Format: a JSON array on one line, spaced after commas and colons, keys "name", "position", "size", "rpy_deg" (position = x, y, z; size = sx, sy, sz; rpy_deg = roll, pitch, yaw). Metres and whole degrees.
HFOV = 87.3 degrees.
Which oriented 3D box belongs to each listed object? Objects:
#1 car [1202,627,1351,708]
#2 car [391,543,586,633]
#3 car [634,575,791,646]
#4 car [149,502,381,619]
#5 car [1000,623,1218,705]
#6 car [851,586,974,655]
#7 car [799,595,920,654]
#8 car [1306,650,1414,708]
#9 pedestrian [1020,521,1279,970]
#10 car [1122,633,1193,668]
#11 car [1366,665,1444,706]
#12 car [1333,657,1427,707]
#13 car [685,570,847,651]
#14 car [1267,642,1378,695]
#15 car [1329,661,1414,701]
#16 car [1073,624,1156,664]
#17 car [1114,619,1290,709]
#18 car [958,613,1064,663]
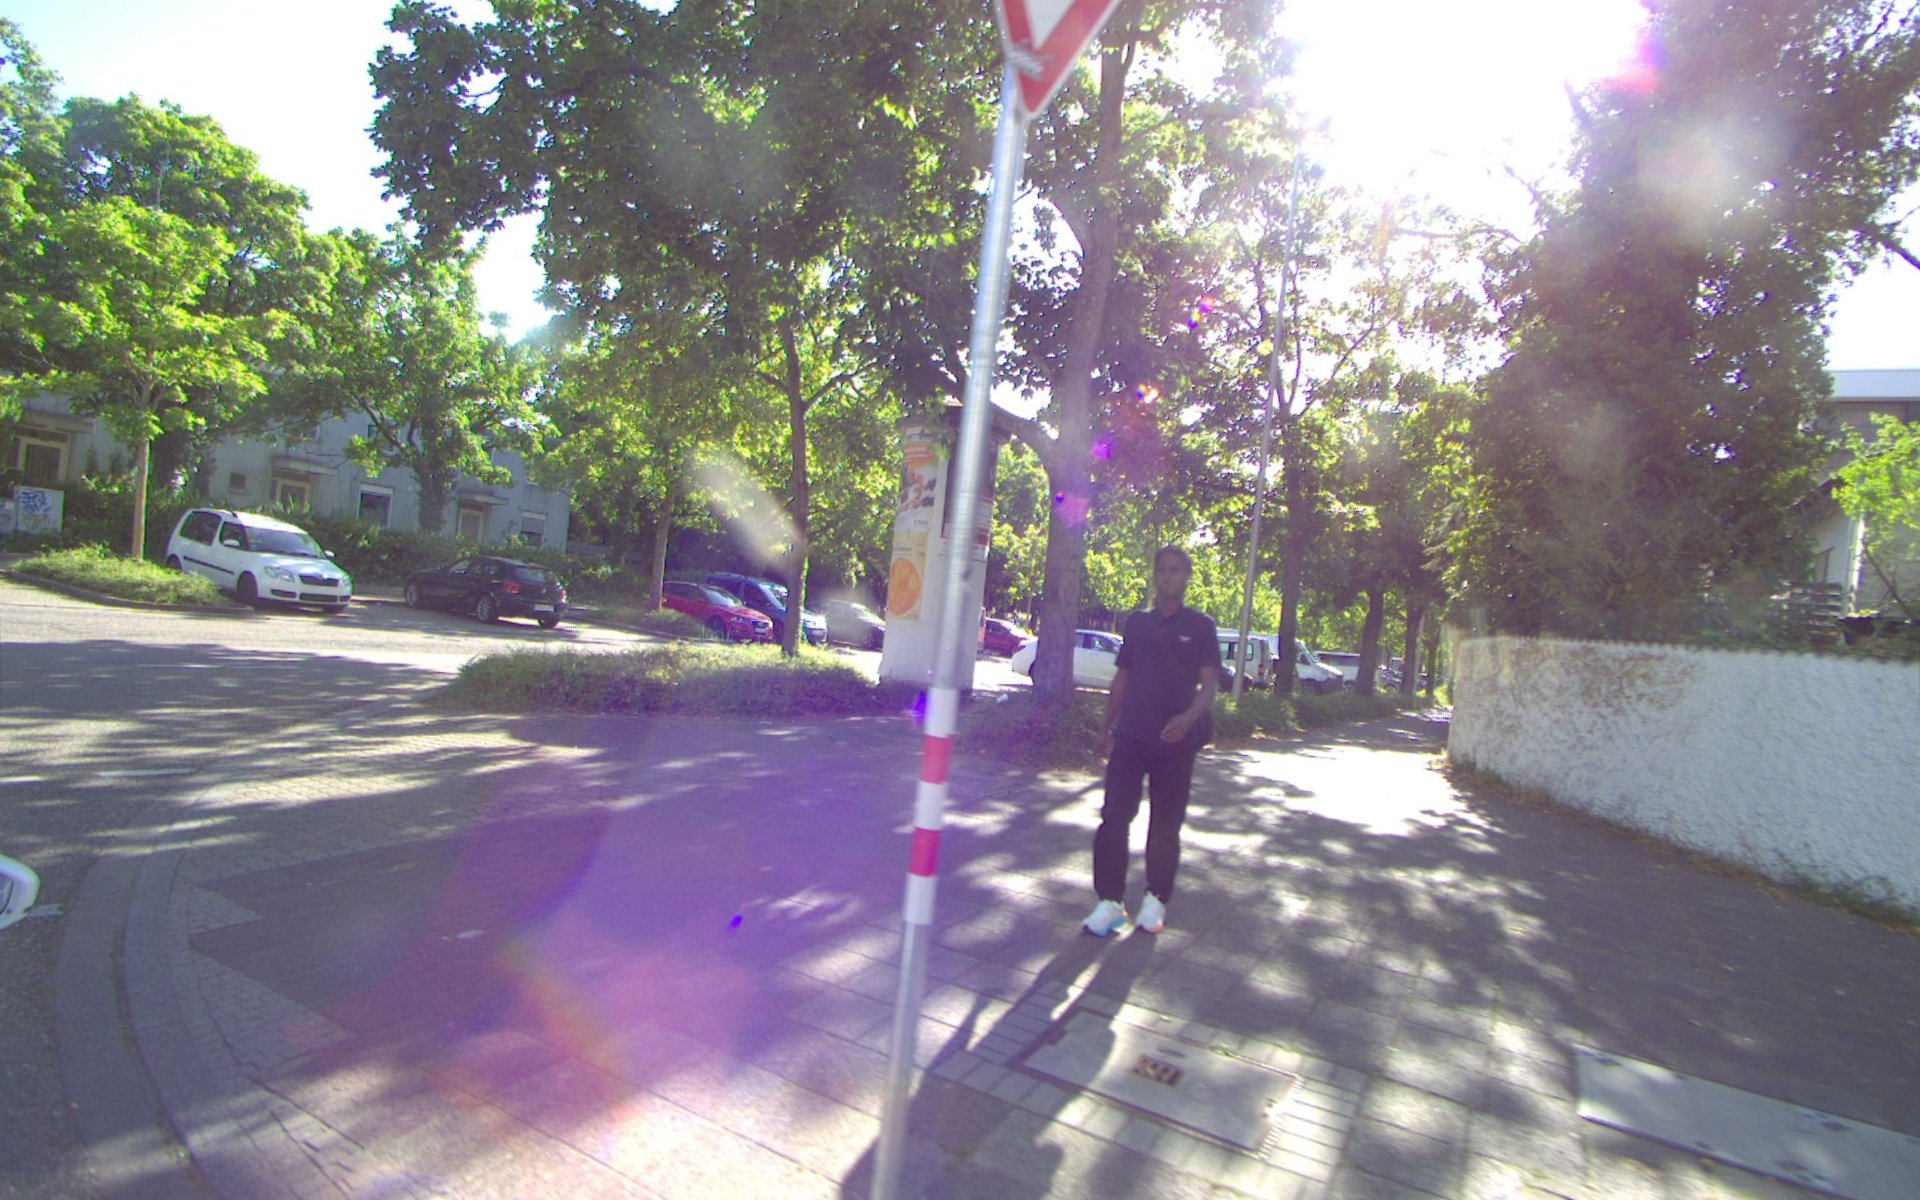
[{"name": "car", "position": [12.341, 2.612, 39.295], "size": [5.048, 2.407, 1.998], "rpy_deg": [7, -1, 30]}, {"name": "car", "position": [-10.668, -0.269, 22.699], "size": [4.096, 1.423, 1.826], "rpy_deg": [8, 1, 29]}, {"name": "car", "position": [-7.081, 0.298, 28.701], "size": [4.096, 1.423, 1.826], "rpy_deg": [8, 1, 29]}, {"name": "car", "position": [-13.028, -0.748, 18.828], "size": [4.096, 1.618, 1.826], "rpy_deg": [8, 1, 29]}, {"name": "car", "position": [3.432, 1.454, 23.498], "size": [4.611, 1.423, 1.825], "rpy_deg": [4, -2, 32]}, {"name": "car", "position": [-1.869, 0.799, 39.191], "size": [4.186, 2.057, 1.971], "rpy_deg": [8, 1, 29]}, {"name": "car", "position": [-3.488, 0.849, 34.877], "size": [3.721, 1.492, 1.766], "rpy_deg": [8, 1, 29]}, {"name": "car", "position": [21.989, 4.339, 55.361], "size": [5.048, 2.407, 1.998], "rpy_deg": [7, -1, 30]}, {"name": "pedestrian", "position": [0.850, 0.586, 4.473], "size": [0.822, 1.705, 0.807], "rpy_deg": [8, 1, 14]}, {"name": "car", "position": [13.620, 3.478, 69.392], "size": [4.186, 1.737, 1.971], "rpy_deg": [8, 1, 29]}, {"name": "car", "position": [33.893, 6.507, 76.575], "size": [5.048, 2.407, 1.998], "rpy_deg": [7, -1, 30]}, {"name": "car", "position": [26.271, 5.119, 62.984], "size": [5.048, 2.407, 1.998], "rpy_deg": [7, -1, 30]}, {"name": "car", "position": [-5.962, 0.302, 30.782], "size": [4.584, 1.794, 1.826], "rpy_deg": [8, 1, 29]}, {"name": "car", "position": [17.133, 3.226, 47.604], "size": [4.488, 1.852, 1.998], "rpy_deg": [7, -1, 30]}, {"name": "car", "position": [25.472, 5.006, 62.234], "size": [4.488, 1.852, 1.998], "rpy_deg": [7, -1, 30]}, {"name": "car", "position": [9.051, 2.586, 59.014], "size": [4.186, 1.737, 1.971], "rpy_deg": [8, 1, 29]}, {"name": "car", "position": [7.226, 1.895, 30.124], "size": [4.557, 2.015, 1.998], "rpy_deg": [7, -1, 30]}, {"name": "car", "position": [2.267, 1.705, 45.164], "size": [4.186, 1.591, 1.971], "rpy_deg": [8, 1, 29]}]
